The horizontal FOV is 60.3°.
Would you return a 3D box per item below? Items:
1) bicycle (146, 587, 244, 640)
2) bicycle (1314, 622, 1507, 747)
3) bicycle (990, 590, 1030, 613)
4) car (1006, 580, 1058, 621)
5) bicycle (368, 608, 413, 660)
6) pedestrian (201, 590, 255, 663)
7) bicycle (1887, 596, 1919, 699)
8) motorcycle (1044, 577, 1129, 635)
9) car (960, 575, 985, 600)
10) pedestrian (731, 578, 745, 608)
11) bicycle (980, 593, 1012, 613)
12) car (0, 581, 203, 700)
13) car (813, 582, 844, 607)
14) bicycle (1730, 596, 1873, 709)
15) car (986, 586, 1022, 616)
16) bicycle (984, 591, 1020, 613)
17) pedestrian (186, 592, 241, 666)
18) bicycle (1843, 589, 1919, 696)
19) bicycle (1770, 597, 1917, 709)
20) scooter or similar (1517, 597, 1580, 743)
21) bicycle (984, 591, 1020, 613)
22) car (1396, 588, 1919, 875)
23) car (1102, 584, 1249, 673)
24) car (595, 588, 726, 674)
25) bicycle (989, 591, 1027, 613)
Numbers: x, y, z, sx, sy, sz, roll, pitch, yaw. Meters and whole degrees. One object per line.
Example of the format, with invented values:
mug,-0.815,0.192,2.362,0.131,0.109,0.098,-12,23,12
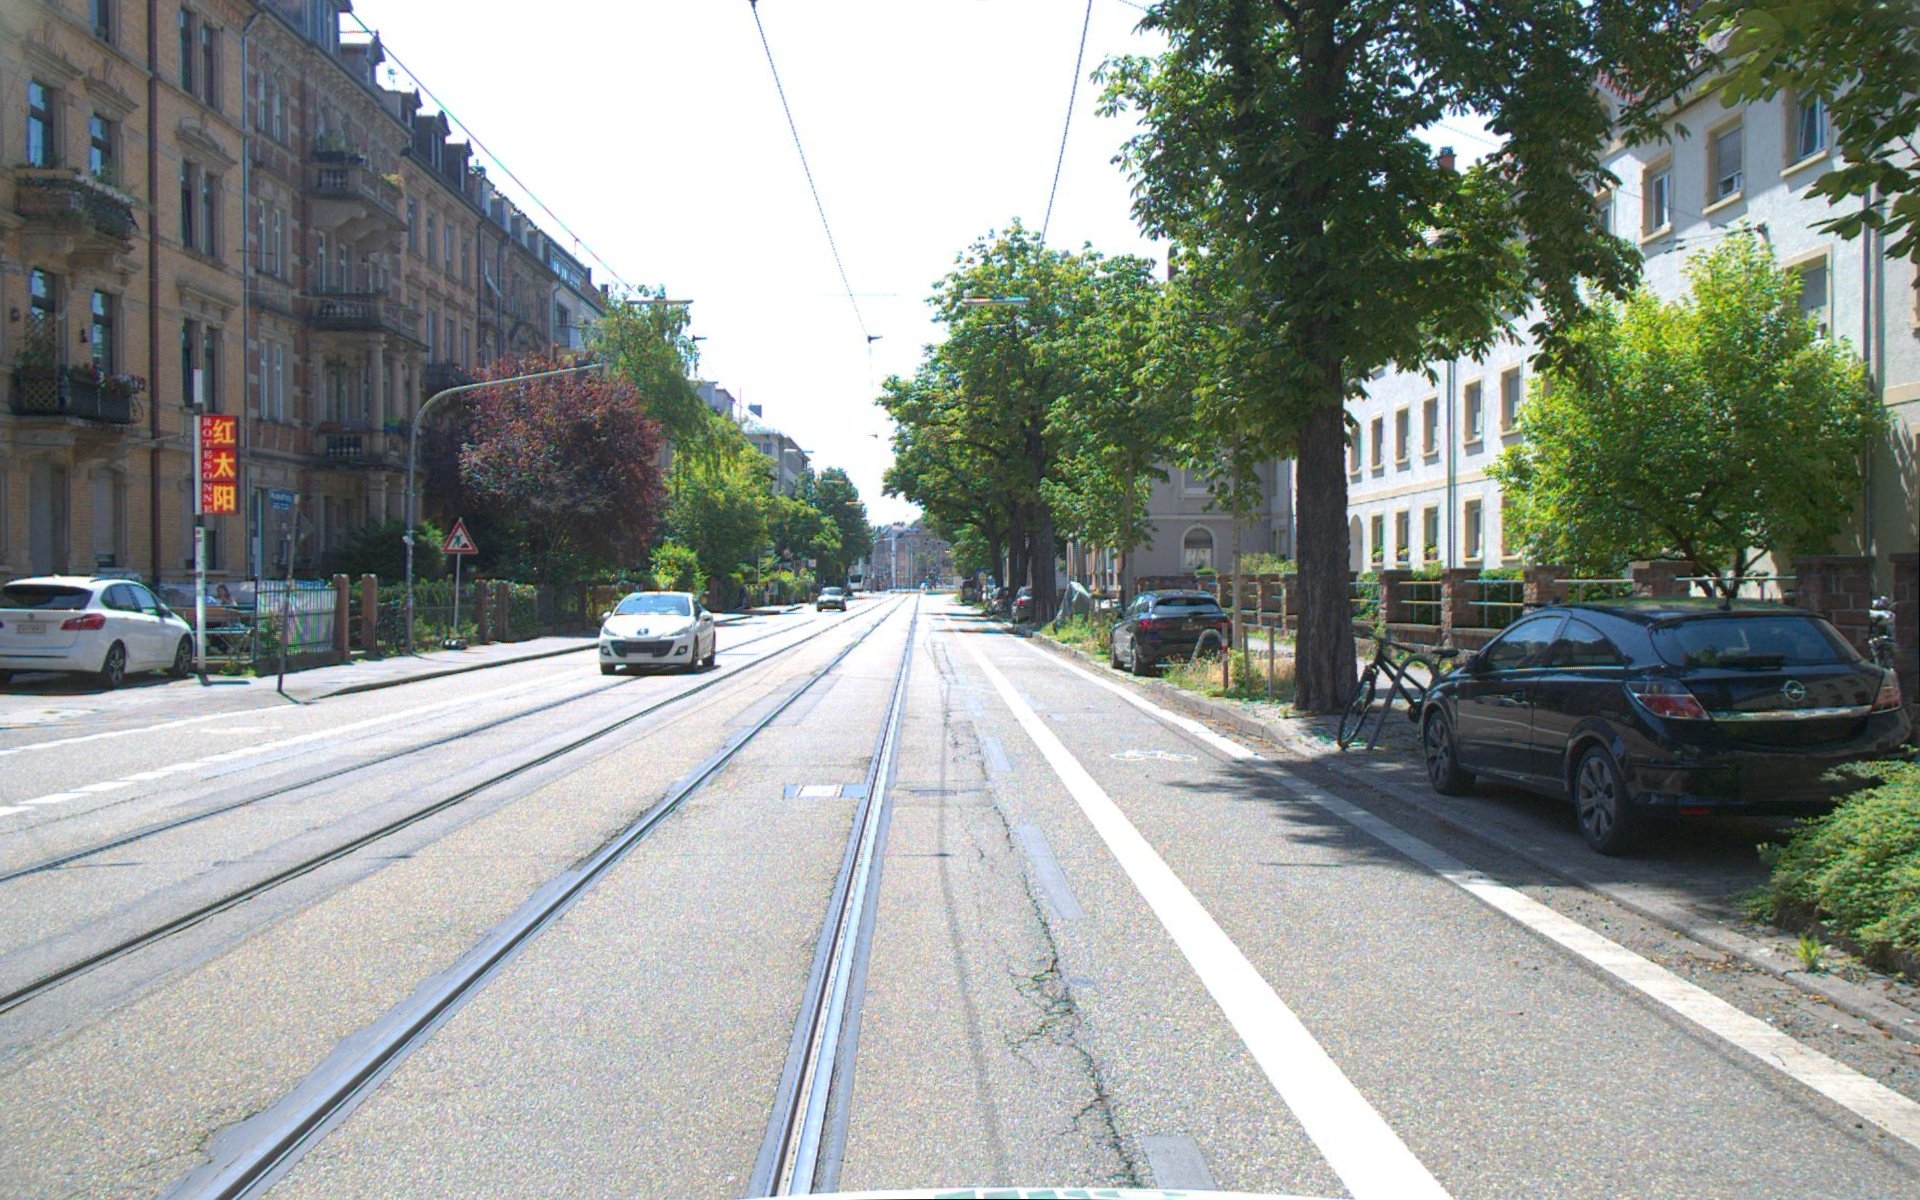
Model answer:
bicycle,-14.777,0.260,31.969,1.669,1.021,0.474,0,0,1
bicycle,4.163,0.763,15.311,1.622,1.097,0.605,0,0,-9
bicycle,2.473,0.077,81.378,1.921,1.082,0.599,0,0,5
car,2.881,-0.008,67.017,1.738,1.527,4.303,-1,1,-3
bicycle,-11.766,0.690,34.188,0.445,1.021,1.805,0,0,-5
pedestrian,-13.798,0.495,31.182,0.696,1.320,0.710,-2,1,-6
bicycle,10.545,0.510,17.262,0.469,1.097,1.921,0,0,-7
motorcycle,3.467,0.145,45.566,2.279,1.567,0.864,1,1,42
car,1.013,-1.073,140.150,1.953,2.071,4.696,0,1,-2
pedestrian,-12.563,-0.393,93.669,0.736,1.657,0.832,0,0,-7
bicycle,2.069,0.163,95.072,1.779,1.133,0.493,-1,-1,-2
car,-13.157,0.552,25.078,1.830,1.628,4.096,1,0,-7
car,-8.002,-0.340,100.841,1.652,1.480,3.747,0,0,-2
bicycle,8.749,0.518,17.274,0.469,1.097,1.924,0,0,-2
car,2.248,0.055,85.797,1.589,1.473,3.808,-3,0,-2
bicycle,2.291,0.121,90.785,1.969,1.133,0.640,-1,-1,0
pedestrian,-13.725,0.521,30.424,0.696,1.320,0.710,-2,1,-6
bicycle,10.029,0.432,17.196,0.469,1.097,1.921,0,0,-7
bicycle,9.201,0.519,17.305,0.469,1.097,1.924,0,0,-2
scooter or similar,5.642,0.643,15.838,0.372,1.233,1.247,0,5,28
bicycle,2.265,0.124,90.121,1.923,1.133,0.598,-1,-1,0
car,4.379,0.669,10.824,1.661,1.443,4.354,0,1,-4
car,3.813,0.453,30.099,1.734,1.451,4.858,0,1,-4
car,-5.398,0.515,30.253,1.720,1.449,3.999,-1,0,-1
bicycle,2.367,0.094,81.052,1.850,1.070,0.538,0,0,5
